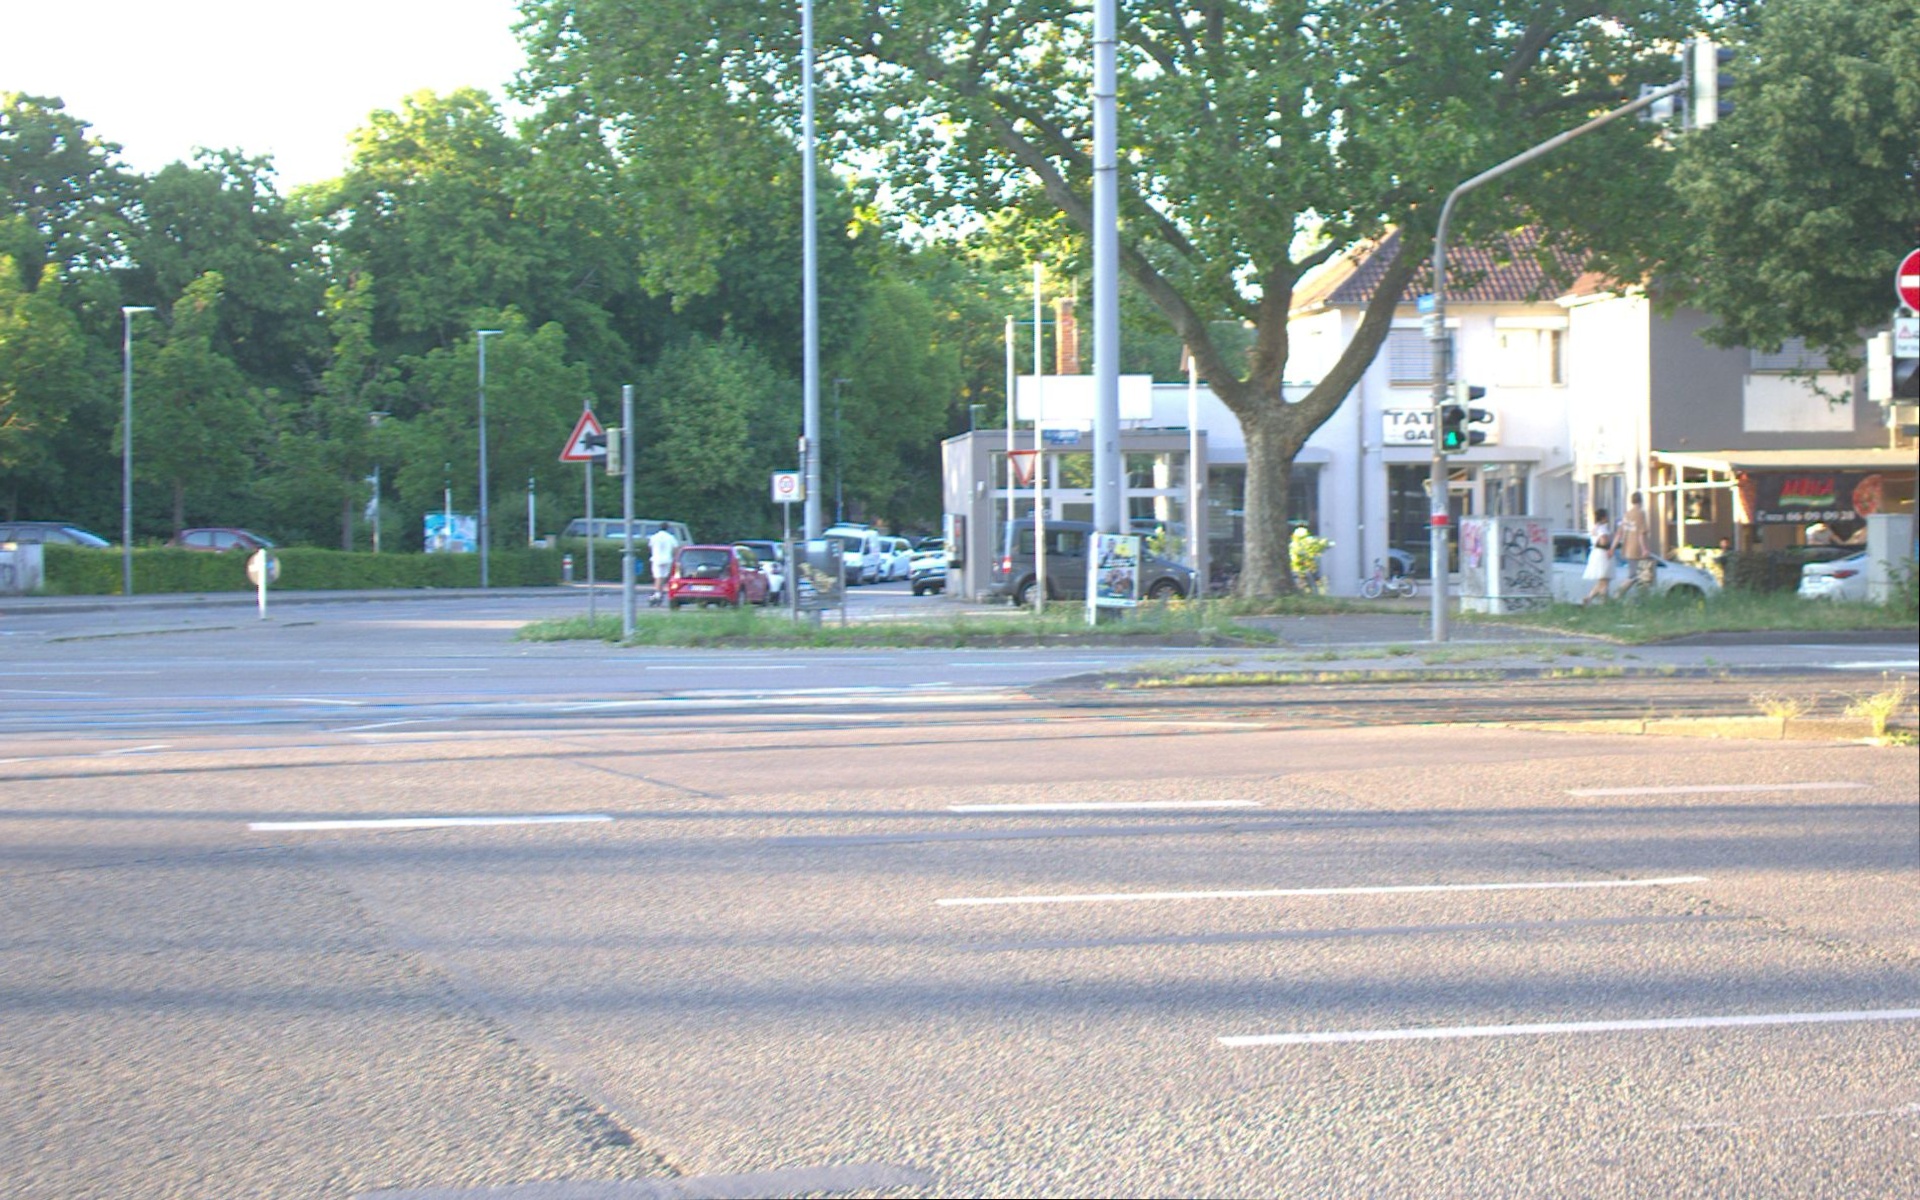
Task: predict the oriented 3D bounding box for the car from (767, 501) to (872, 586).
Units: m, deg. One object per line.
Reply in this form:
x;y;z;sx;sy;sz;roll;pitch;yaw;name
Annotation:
-3.417;-1.416;84.405;1.915;2.040;3.999;0;2;8;car

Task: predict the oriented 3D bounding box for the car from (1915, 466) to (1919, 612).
13.702;-0.729;40.259;4.532;1.722;1.862;-1;1;-14;car

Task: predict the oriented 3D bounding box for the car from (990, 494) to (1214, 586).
2.908;-1.251;70.925;4.376;1.828;1.949;-1;1;-5;car

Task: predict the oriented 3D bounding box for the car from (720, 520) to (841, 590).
-4.175;-1.069;80.406;1.994;1.568;3.999;0;2;10;car

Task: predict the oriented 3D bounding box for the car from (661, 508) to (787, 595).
-5.212;-1.105;76.412;1.869;1.868;3.873;0;2;11;car

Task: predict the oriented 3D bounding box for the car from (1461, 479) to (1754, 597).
10.420;-1.008;55.479;4.229;1.840;2.001;-1;1;-7;car

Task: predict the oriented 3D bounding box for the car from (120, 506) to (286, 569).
-19.340;-1.615;87.982;3.986;1.555;2.001;-1;1;-8;car

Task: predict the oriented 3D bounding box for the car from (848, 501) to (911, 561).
-2.764;-2.380;117.432;1.993;2.007;4.001;-1;2;-3;car

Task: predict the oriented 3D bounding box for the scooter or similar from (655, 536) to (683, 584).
-6.698;-0.917;79.103;0.510;1.086;1.243;-1;1;-10;scooter or similar

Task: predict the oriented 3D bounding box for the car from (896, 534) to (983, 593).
-0.555;-1.041;96.656;1.915;1.597;3.999;0;2;8;car

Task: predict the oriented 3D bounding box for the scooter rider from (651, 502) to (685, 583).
-6.719;-1.327;79.124;0.702;1.848;0.669;0;0;-10;scooter rider

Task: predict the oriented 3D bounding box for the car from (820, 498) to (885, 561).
-3.538;-2.321;112.655;1.993;2.007;4.001;-1;2;-3;car

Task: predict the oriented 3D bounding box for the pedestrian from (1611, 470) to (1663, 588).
10.134;-1.066;51.460;0.719;1.748;0.897;0;1;14;pedestrian

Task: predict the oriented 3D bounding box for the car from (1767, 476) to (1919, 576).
15.510;-1.216;55.869;4.229;1.572;2.001;-1;1;-7;car

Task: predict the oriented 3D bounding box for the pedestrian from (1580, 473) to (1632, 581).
9.881;-1.123;52.570;0.719;1.633;0.897;0;1;14;pedestrian
